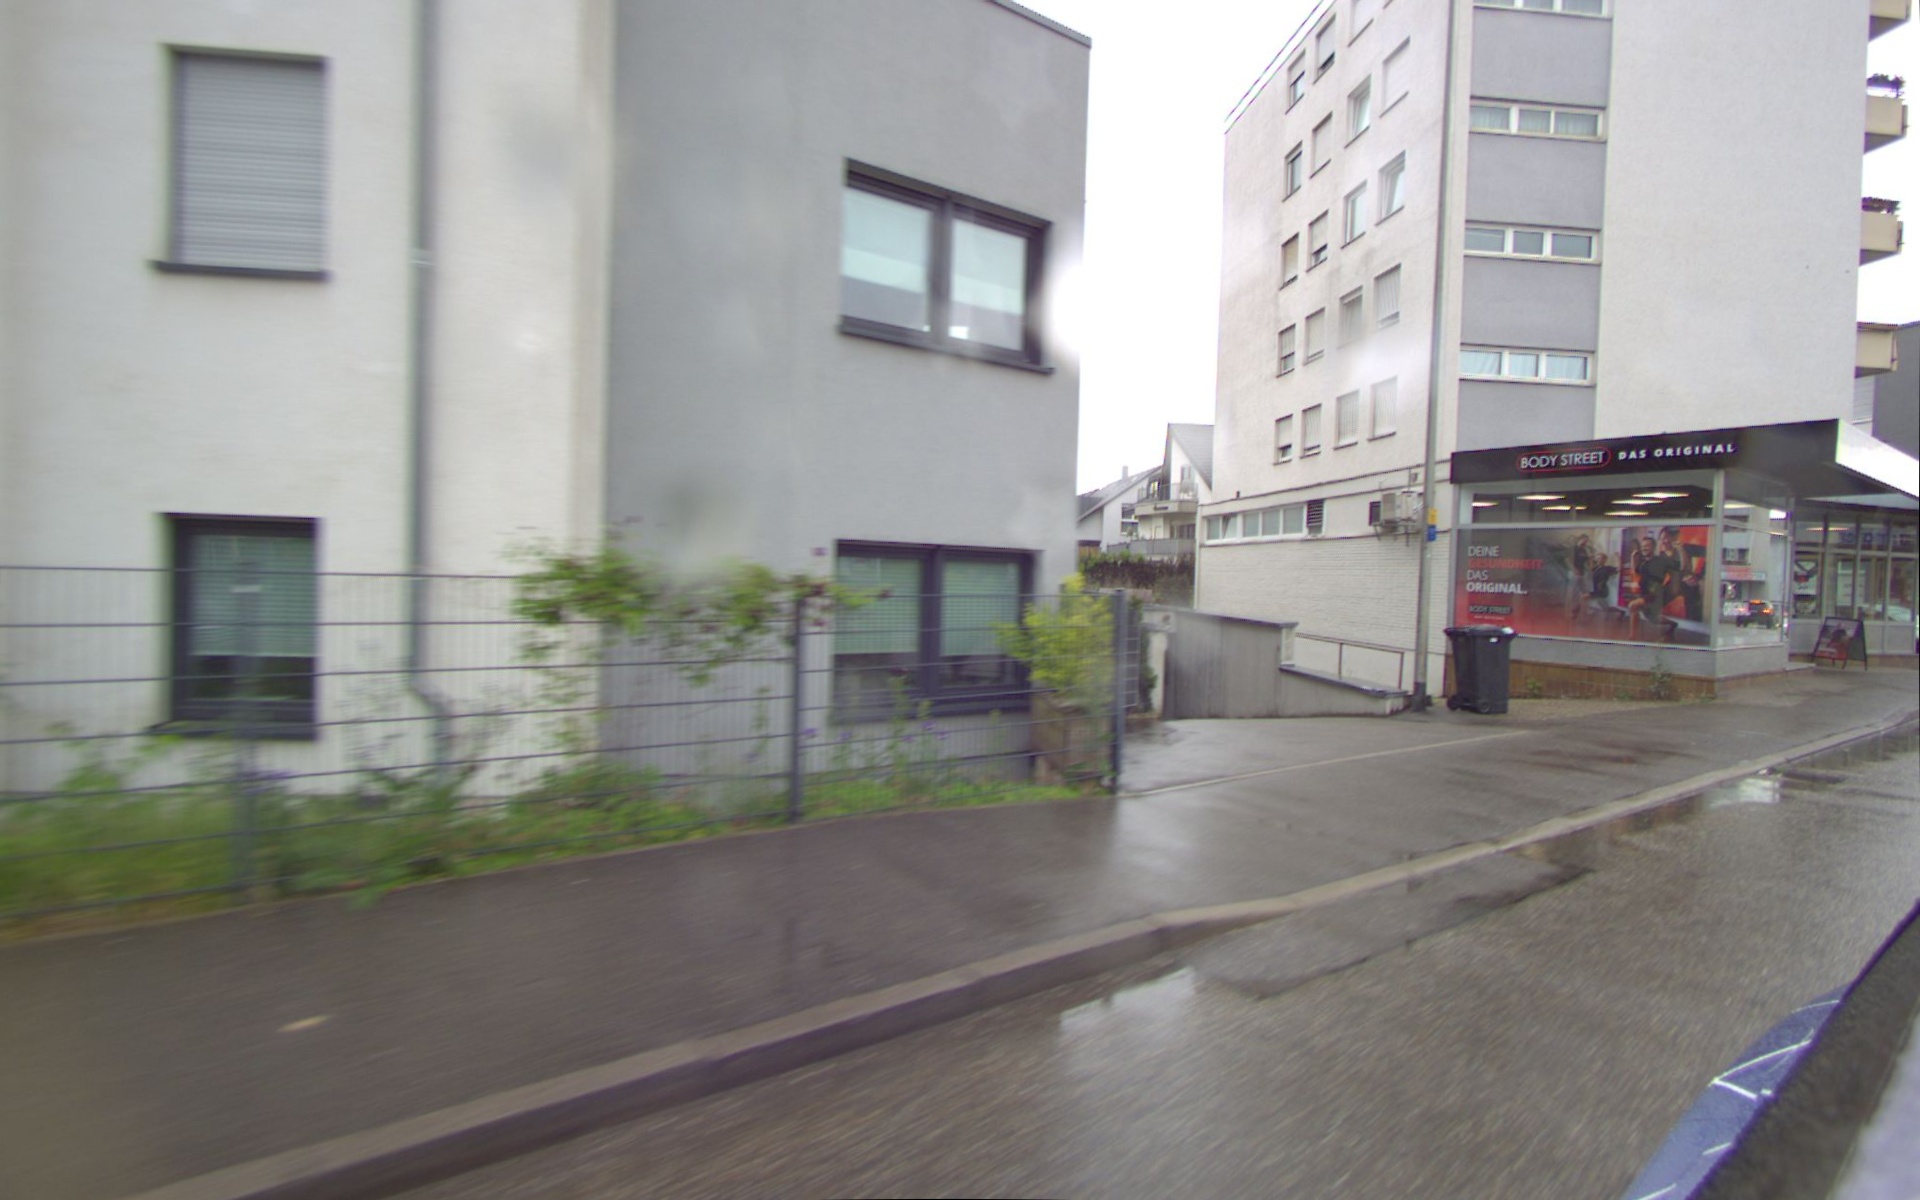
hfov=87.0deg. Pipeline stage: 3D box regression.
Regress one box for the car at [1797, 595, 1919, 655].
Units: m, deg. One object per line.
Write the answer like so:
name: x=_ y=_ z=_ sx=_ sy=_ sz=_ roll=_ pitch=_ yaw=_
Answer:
car: x=25.711 y=0.698 z=27.561 sx=1.834 sy=1.513 sz=4.278 roll=3 pitch=0 yaw=-9
